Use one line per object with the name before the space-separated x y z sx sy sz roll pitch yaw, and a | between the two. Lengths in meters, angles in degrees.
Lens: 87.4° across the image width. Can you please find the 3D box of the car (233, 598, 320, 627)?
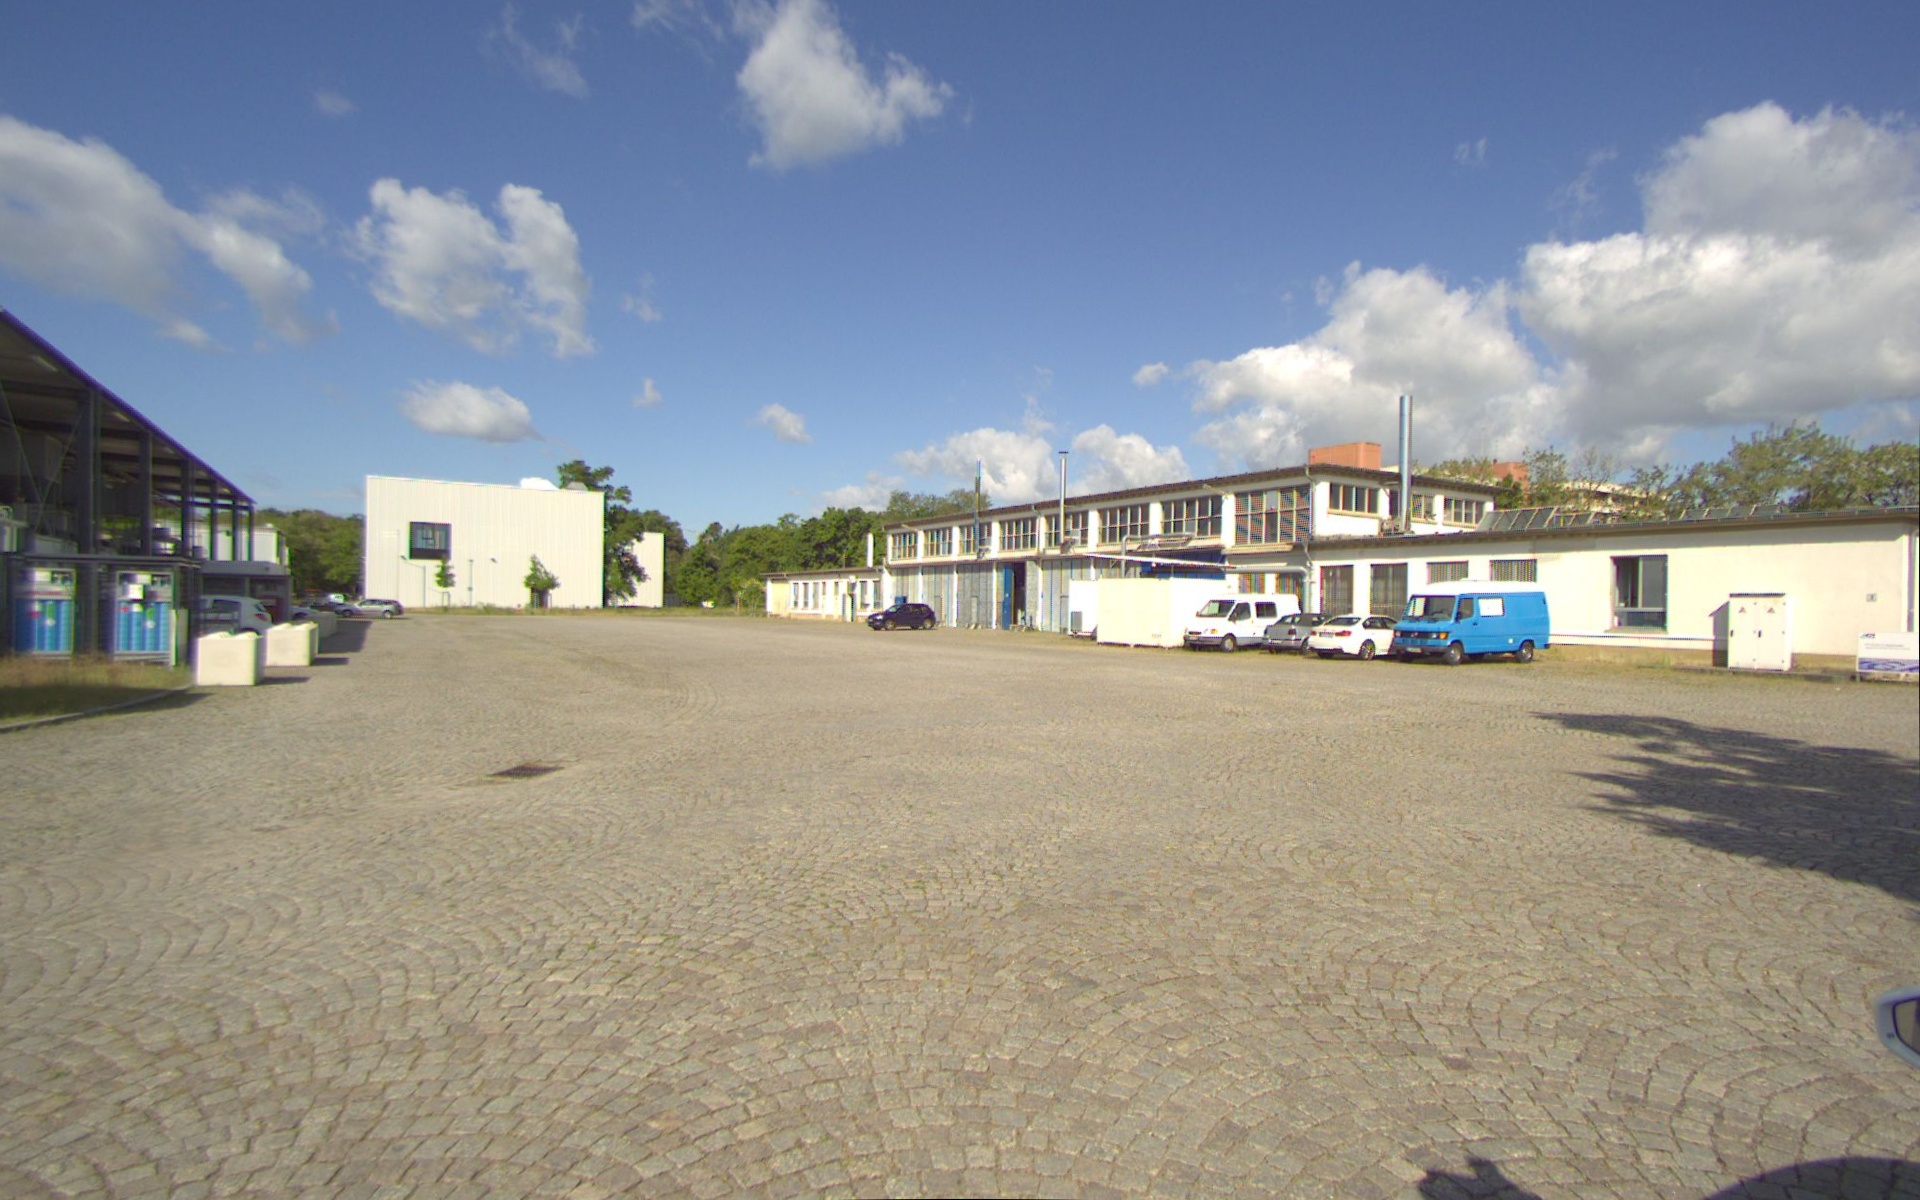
car | -35.526 0.660 52.310 3.659 1.427 1.660 1 -1 -34

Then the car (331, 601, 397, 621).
car | -44.662 0.825 75.313 4.142 1.422 1.725 1 -1 -32

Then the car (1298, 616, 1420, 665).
car | 12.886 1.267 32.413 3.692 1.424 1.725 0 0 -28

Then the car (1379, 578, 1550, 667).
car | 15.385 0.704 30.585 5.173 2.516 2.074 1 -1 -28

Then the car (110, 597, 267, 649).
car | -21.846 0.660 28.609 3.438 1.394 1.596 1 -1 -34

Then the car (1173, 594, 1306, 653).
car | 10.466 0.885 37.544 4.744 2.109 1.995 1 -1 -28

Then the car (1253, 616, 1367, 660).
car | 12.310 1.325 35.319 3.784 1.417 1.680 1 0 -28

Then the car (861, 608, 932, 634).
car | -3.838 1.254 60.947 4.032 1.489 1.725 0 0 -33
